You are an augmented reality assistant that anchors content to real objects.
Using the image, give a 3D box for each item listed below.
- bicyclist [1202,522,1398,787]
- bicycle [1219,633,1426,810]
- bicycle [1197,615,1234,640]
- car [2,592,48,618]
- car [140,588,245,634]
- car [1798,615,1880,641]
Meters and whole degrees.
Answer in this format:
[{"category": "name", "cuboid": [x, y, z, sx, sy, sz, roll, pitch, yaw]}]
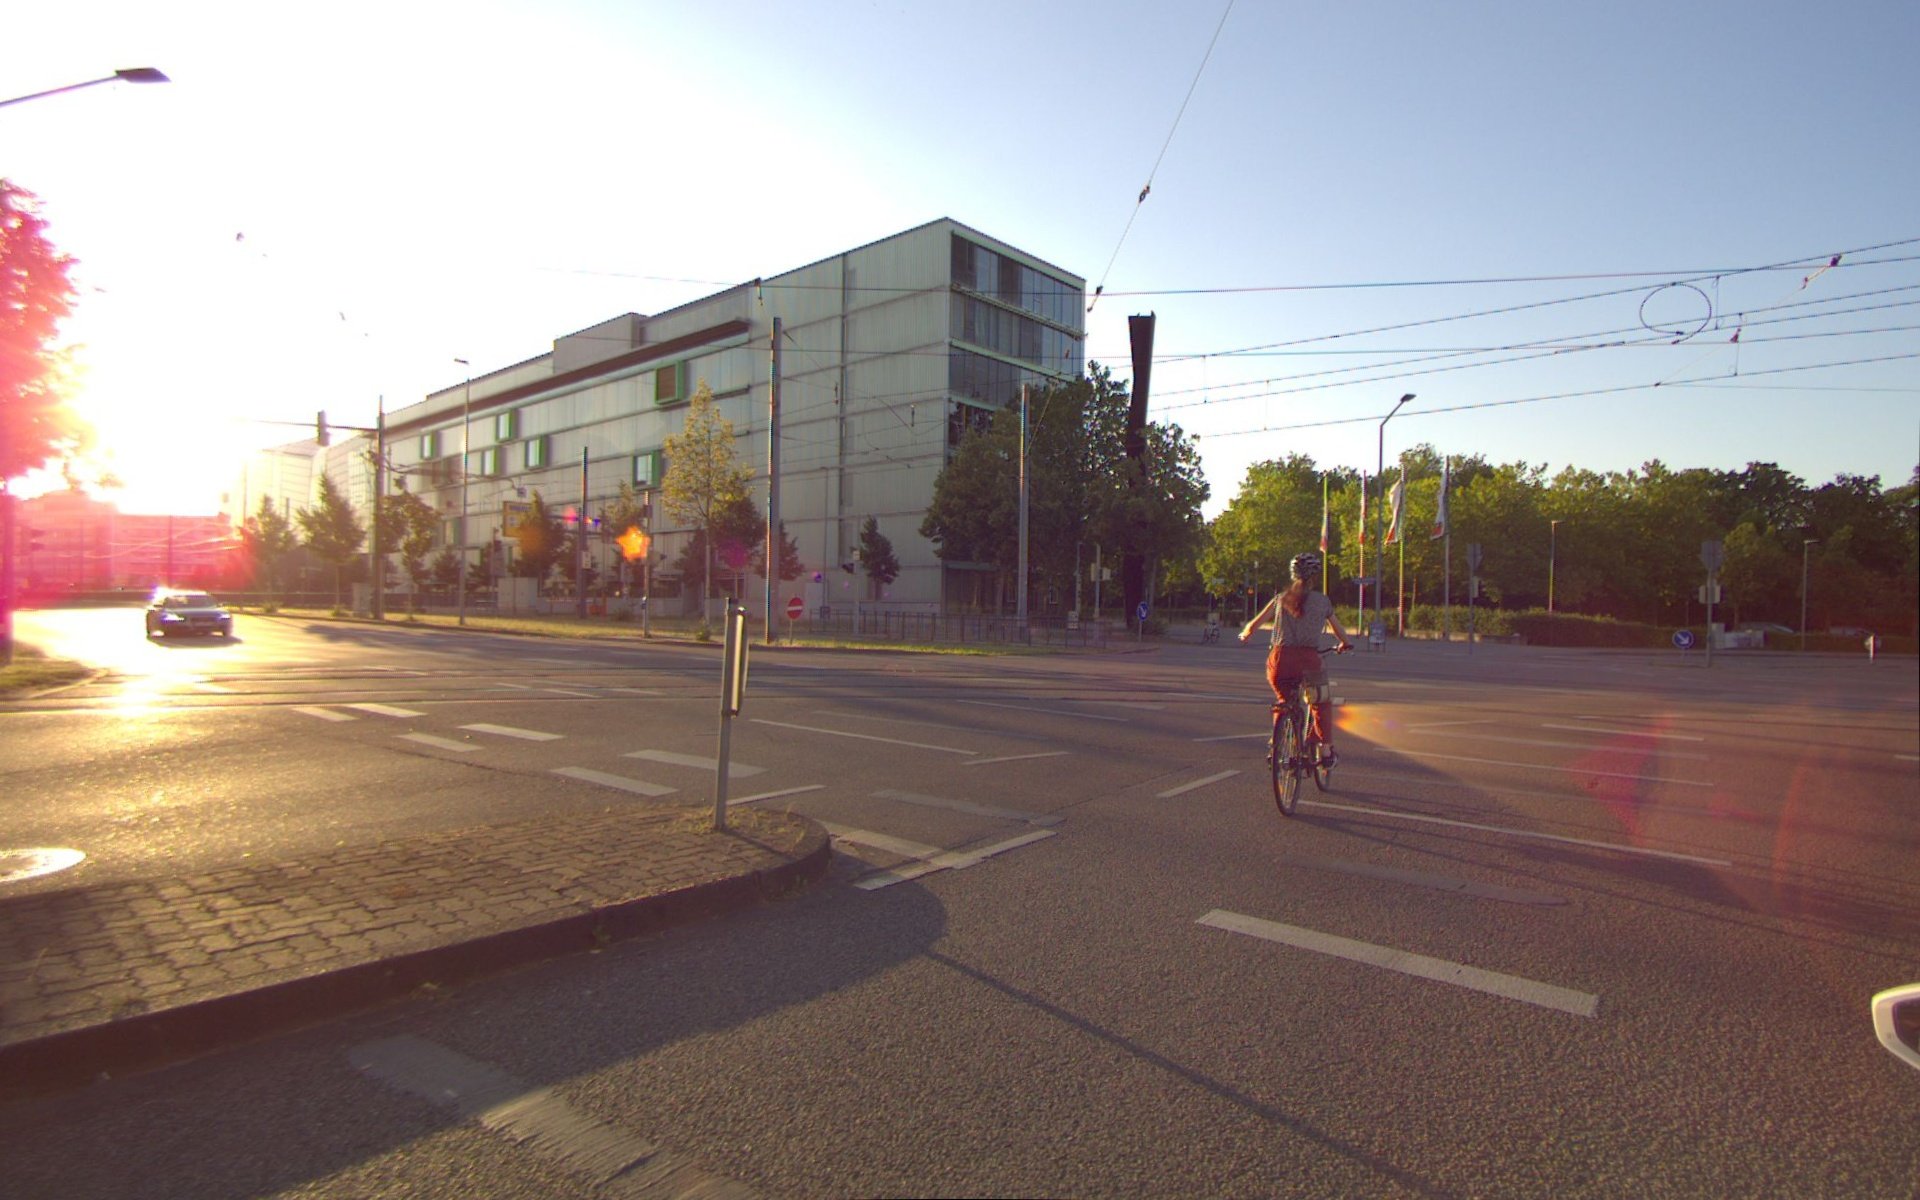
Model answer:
[{"category": "bicyclist", "cuboid": [2.477, 0.365, 7.322, 1.021, 1.740, 0.990, 1, 0, 44]}, {"category": "bicycle", "cuboid": [2.692, 0.796, 7.303, 0.627, 1.082, 2.110, 1, 0, 43]}, {"category": "bicycle", "cuboid": [12.056, 1.290, 47.282, 0.691, 1.151, 2.381, 1, 0, 40]}, {"category": "car", "cuboid": [-66.991, 0.357, 71.940, 3.940, 1.729, 1.990, 1, 0, 41]}, {"category": "car", "cuboid": [-25.511, 0.335, 33.354, 3.941, 1.439, 1.990, 1, 0, 41]}, {"category": "car", "cuboid": [58.093, 1.839, 66.439, 1.987, 1.582, 3.947, 1, -1, -44]}]
